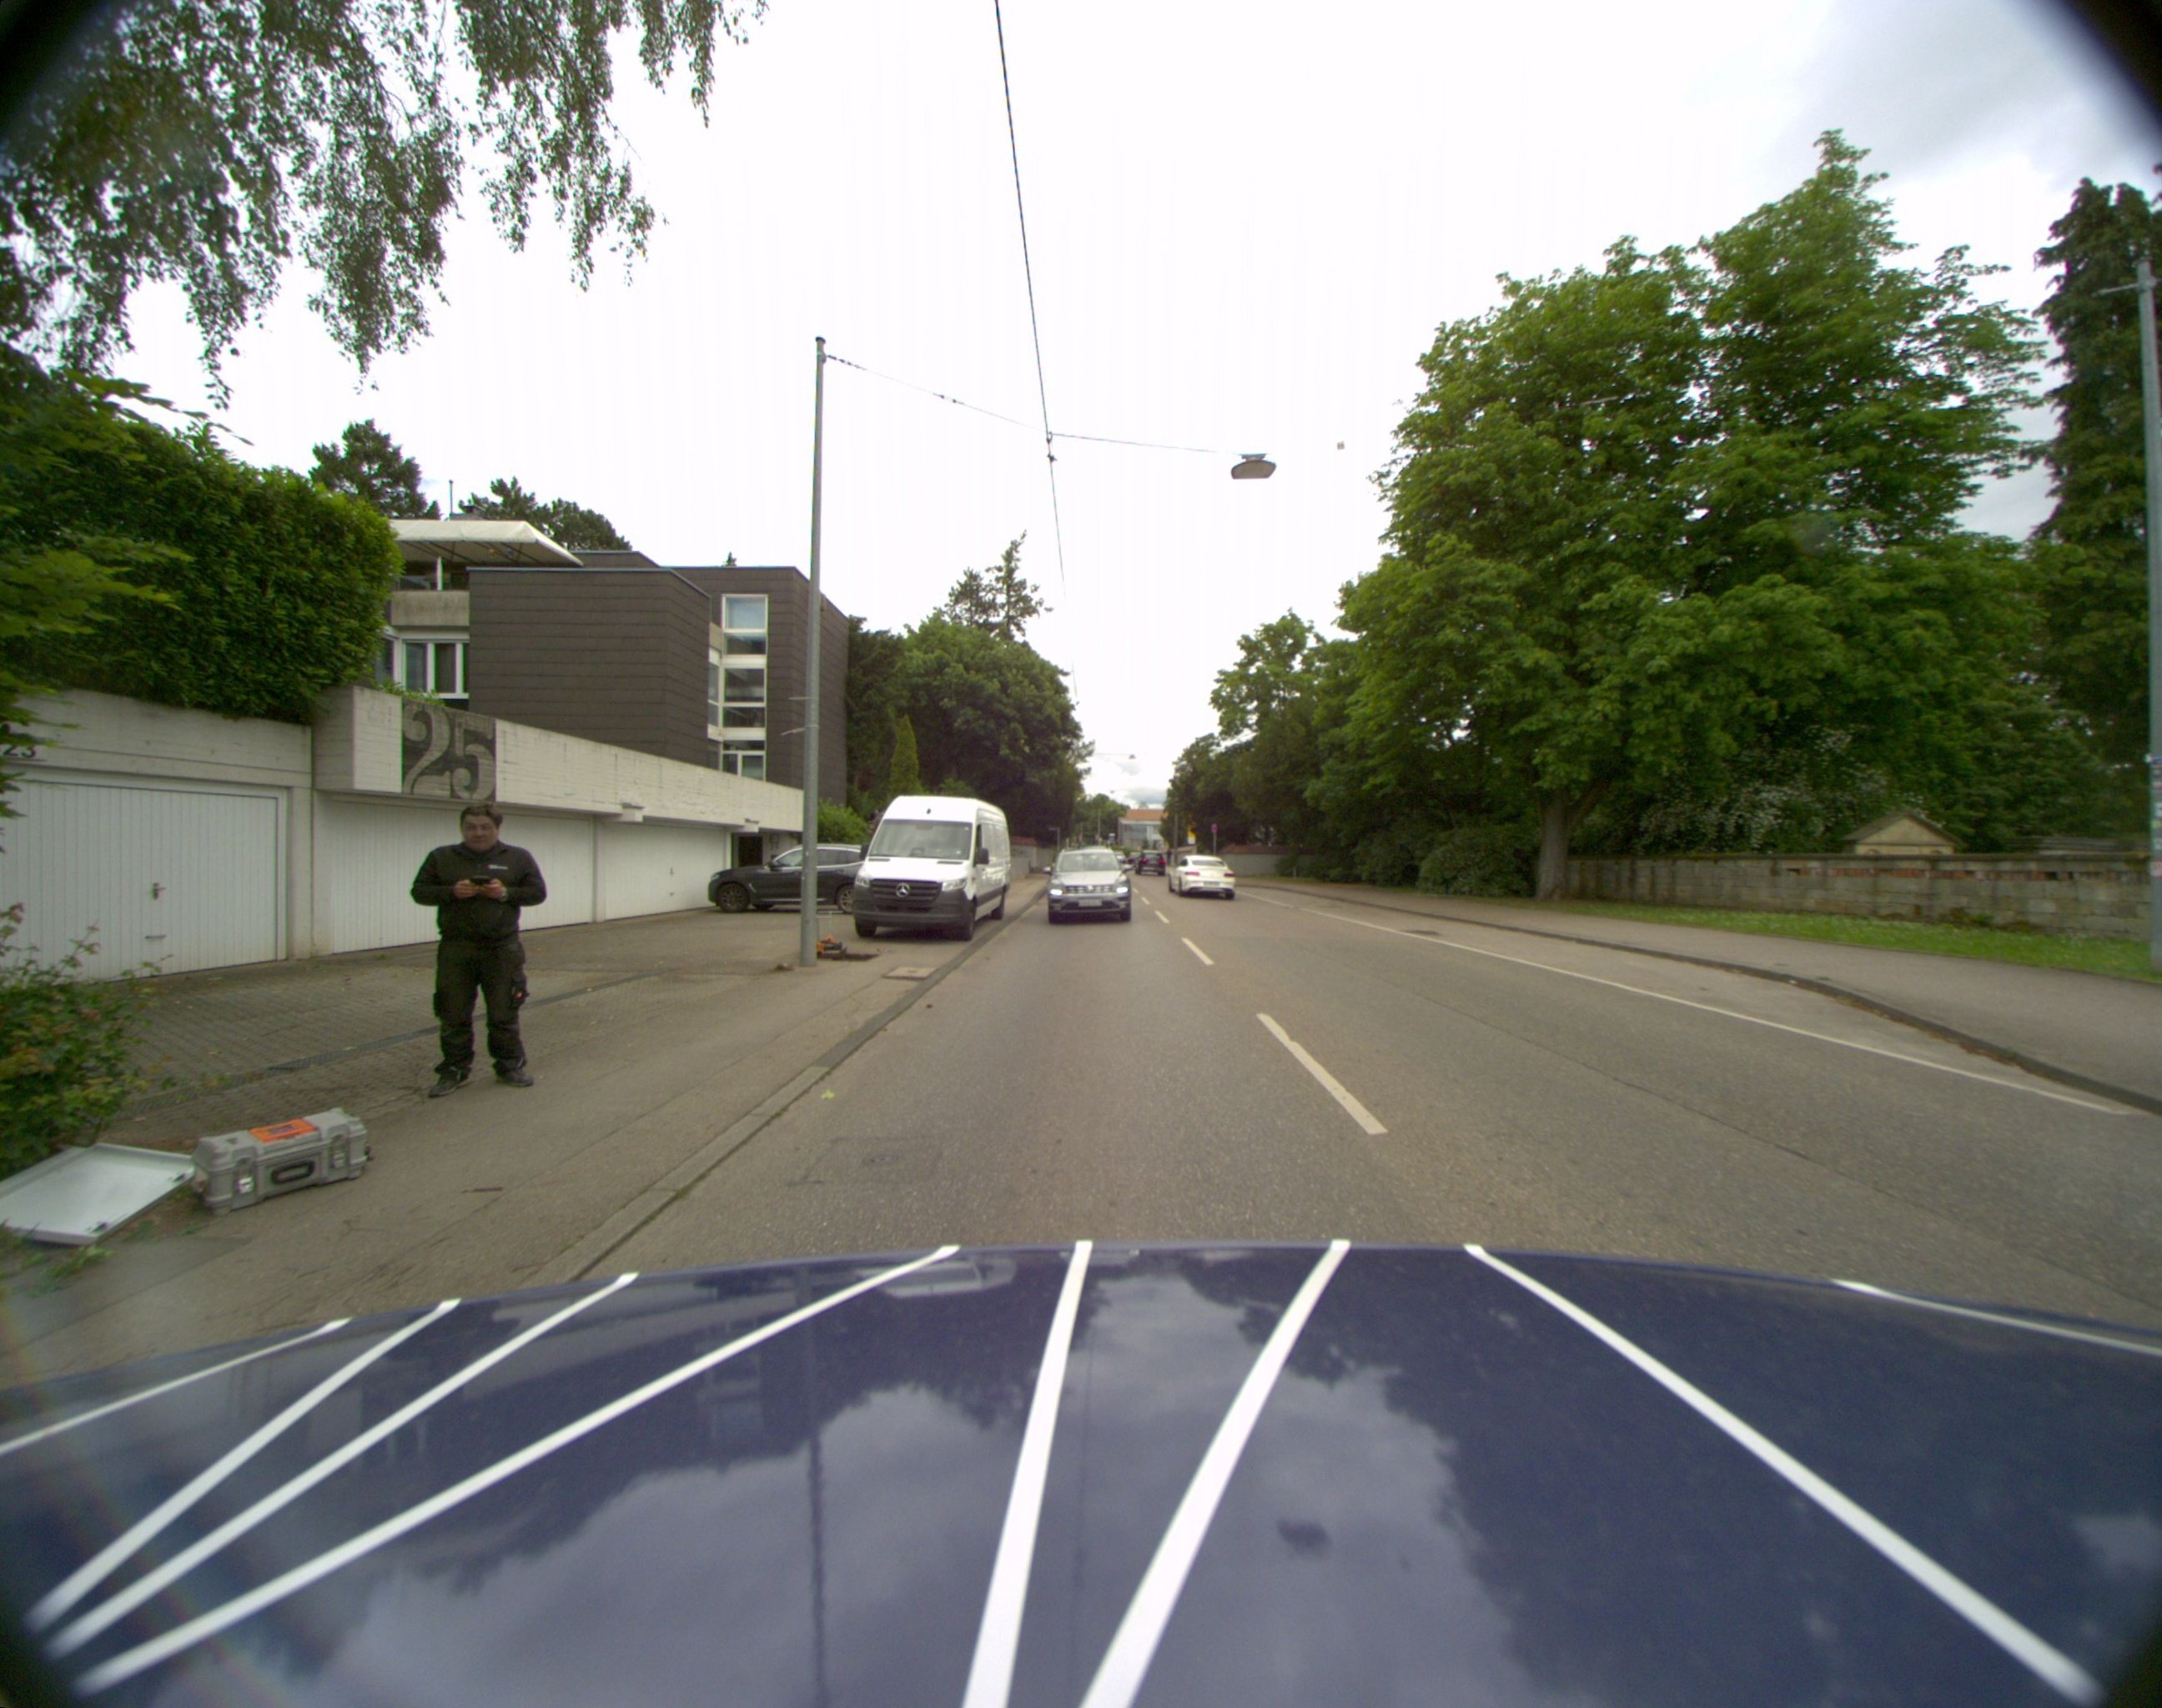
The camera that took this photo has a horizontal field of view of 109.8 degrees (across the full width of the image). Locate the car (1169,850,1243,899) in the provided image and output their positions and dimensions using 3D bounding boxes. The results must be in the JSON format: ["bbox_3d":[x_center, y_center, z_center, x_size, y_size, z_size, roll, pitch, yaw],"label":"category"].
[{"bbox_3d":[4.229,0.637,26.487,1.819,1.411,4.828,3,1,1],"label":"car"}]

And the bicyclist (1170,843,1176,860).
[{"bbox_3d":[9.103,-0.268,75.363,0.489,1.674,0.588,-3,1,1],"label":"bicyclist"}]

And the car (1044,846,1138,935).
[{"bbox_3d":[0.244,0.700,17.475,1.819,1.690,4.718,-2,1,1],"label":"car"}]

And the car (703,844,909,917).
[{"bbox_3d":[-6.607,0.612,18.570,4.392,1.665,1.695,0,1,2],"label":"car"}]

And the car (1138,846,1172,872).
[{"bbox_3d":[4.976,0.284,51.610,1.885,1.635,4.127,2,1,1],"label":"car"}]

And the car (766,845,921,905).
[{"bbox_3d":[-6.834,0.566,22.082,3.909,1.642,1.745,0,1,5],"label":"car"}]

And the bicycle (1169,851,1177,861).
[{"bbox_3d":[9.131,0.169,75.458,0.496,0.959,1.748,-3,1,1],"label":"bicycle"}]

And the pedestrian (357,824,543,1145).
[{"bbox_3d":[-3.710,0.701,4.532,0.650,1.742,0.653,-1,2,-24],"label":"pedestrian"}]

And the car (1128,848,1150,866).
[{"bbox_3d":[5.141,0.250,67.321,1.705,1.475,3.999,2,1,1],"label":"car"}]

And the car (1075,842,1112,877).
[{"bbox_3d":[0.678,0.243,40.484,1.819,1.733,4.487,-1,1,1],"label":"car"}]

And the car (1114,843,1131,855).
[{"bbox_3d":[5.249,-0.677,96.424,1.761,1.395,4.413,2,1,-1],"label":"car"}]

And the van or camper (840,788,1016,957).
[{"bbox_3d":[-2.719,0.239,15.386,1.996,2.610,6.543,2,1,1],"label":"van or camper"}]

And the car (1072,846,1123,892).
[{"bbox_3d":[0.624,0.523,29.865,1.819,1.647,4.487,-1,1,1],"label":"car"}]
